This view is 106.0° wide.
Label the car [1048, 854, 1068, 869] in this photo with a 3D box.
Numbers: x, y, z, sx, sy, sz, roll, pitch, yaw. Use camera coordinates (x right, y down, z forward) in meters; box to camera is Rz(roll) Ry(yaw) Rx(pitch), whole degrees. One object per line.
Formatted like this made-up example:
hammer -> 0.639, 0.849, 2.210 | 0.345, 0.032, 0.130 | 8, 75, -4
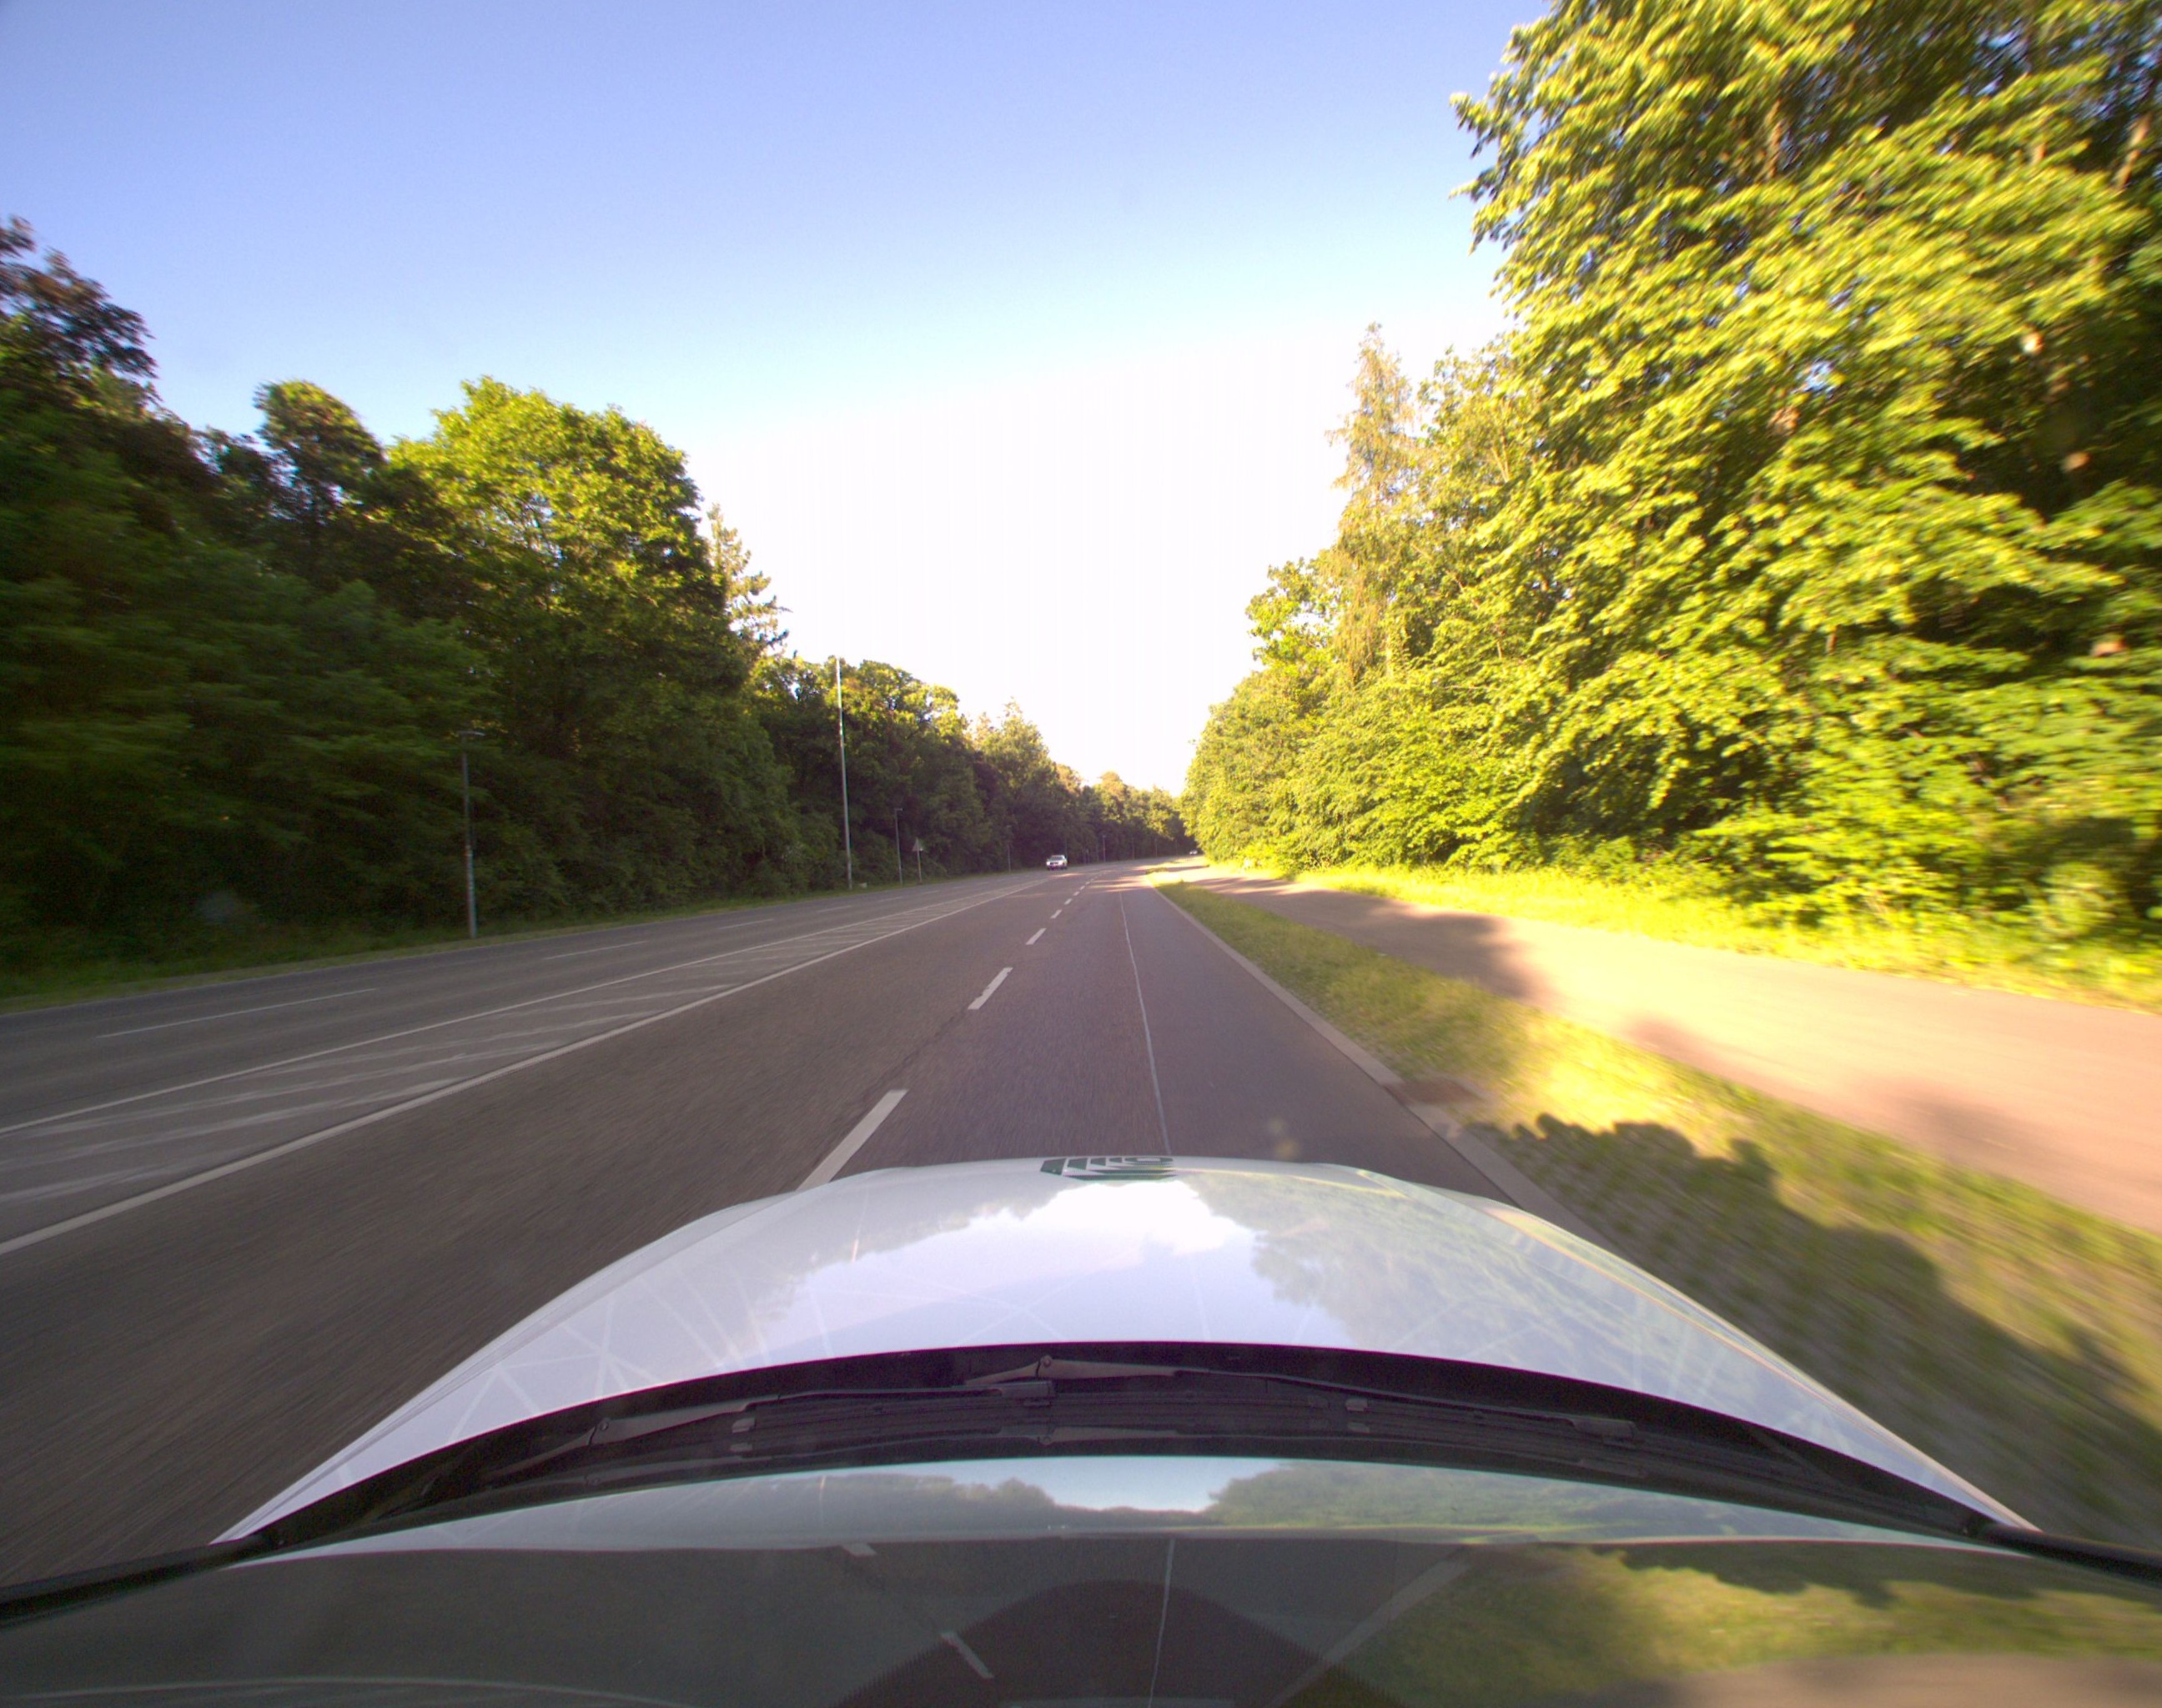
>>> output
car -> -2.571, 0.831, 91.888 | 1.900, 1.664, 4.736 | -2, 0, 2
